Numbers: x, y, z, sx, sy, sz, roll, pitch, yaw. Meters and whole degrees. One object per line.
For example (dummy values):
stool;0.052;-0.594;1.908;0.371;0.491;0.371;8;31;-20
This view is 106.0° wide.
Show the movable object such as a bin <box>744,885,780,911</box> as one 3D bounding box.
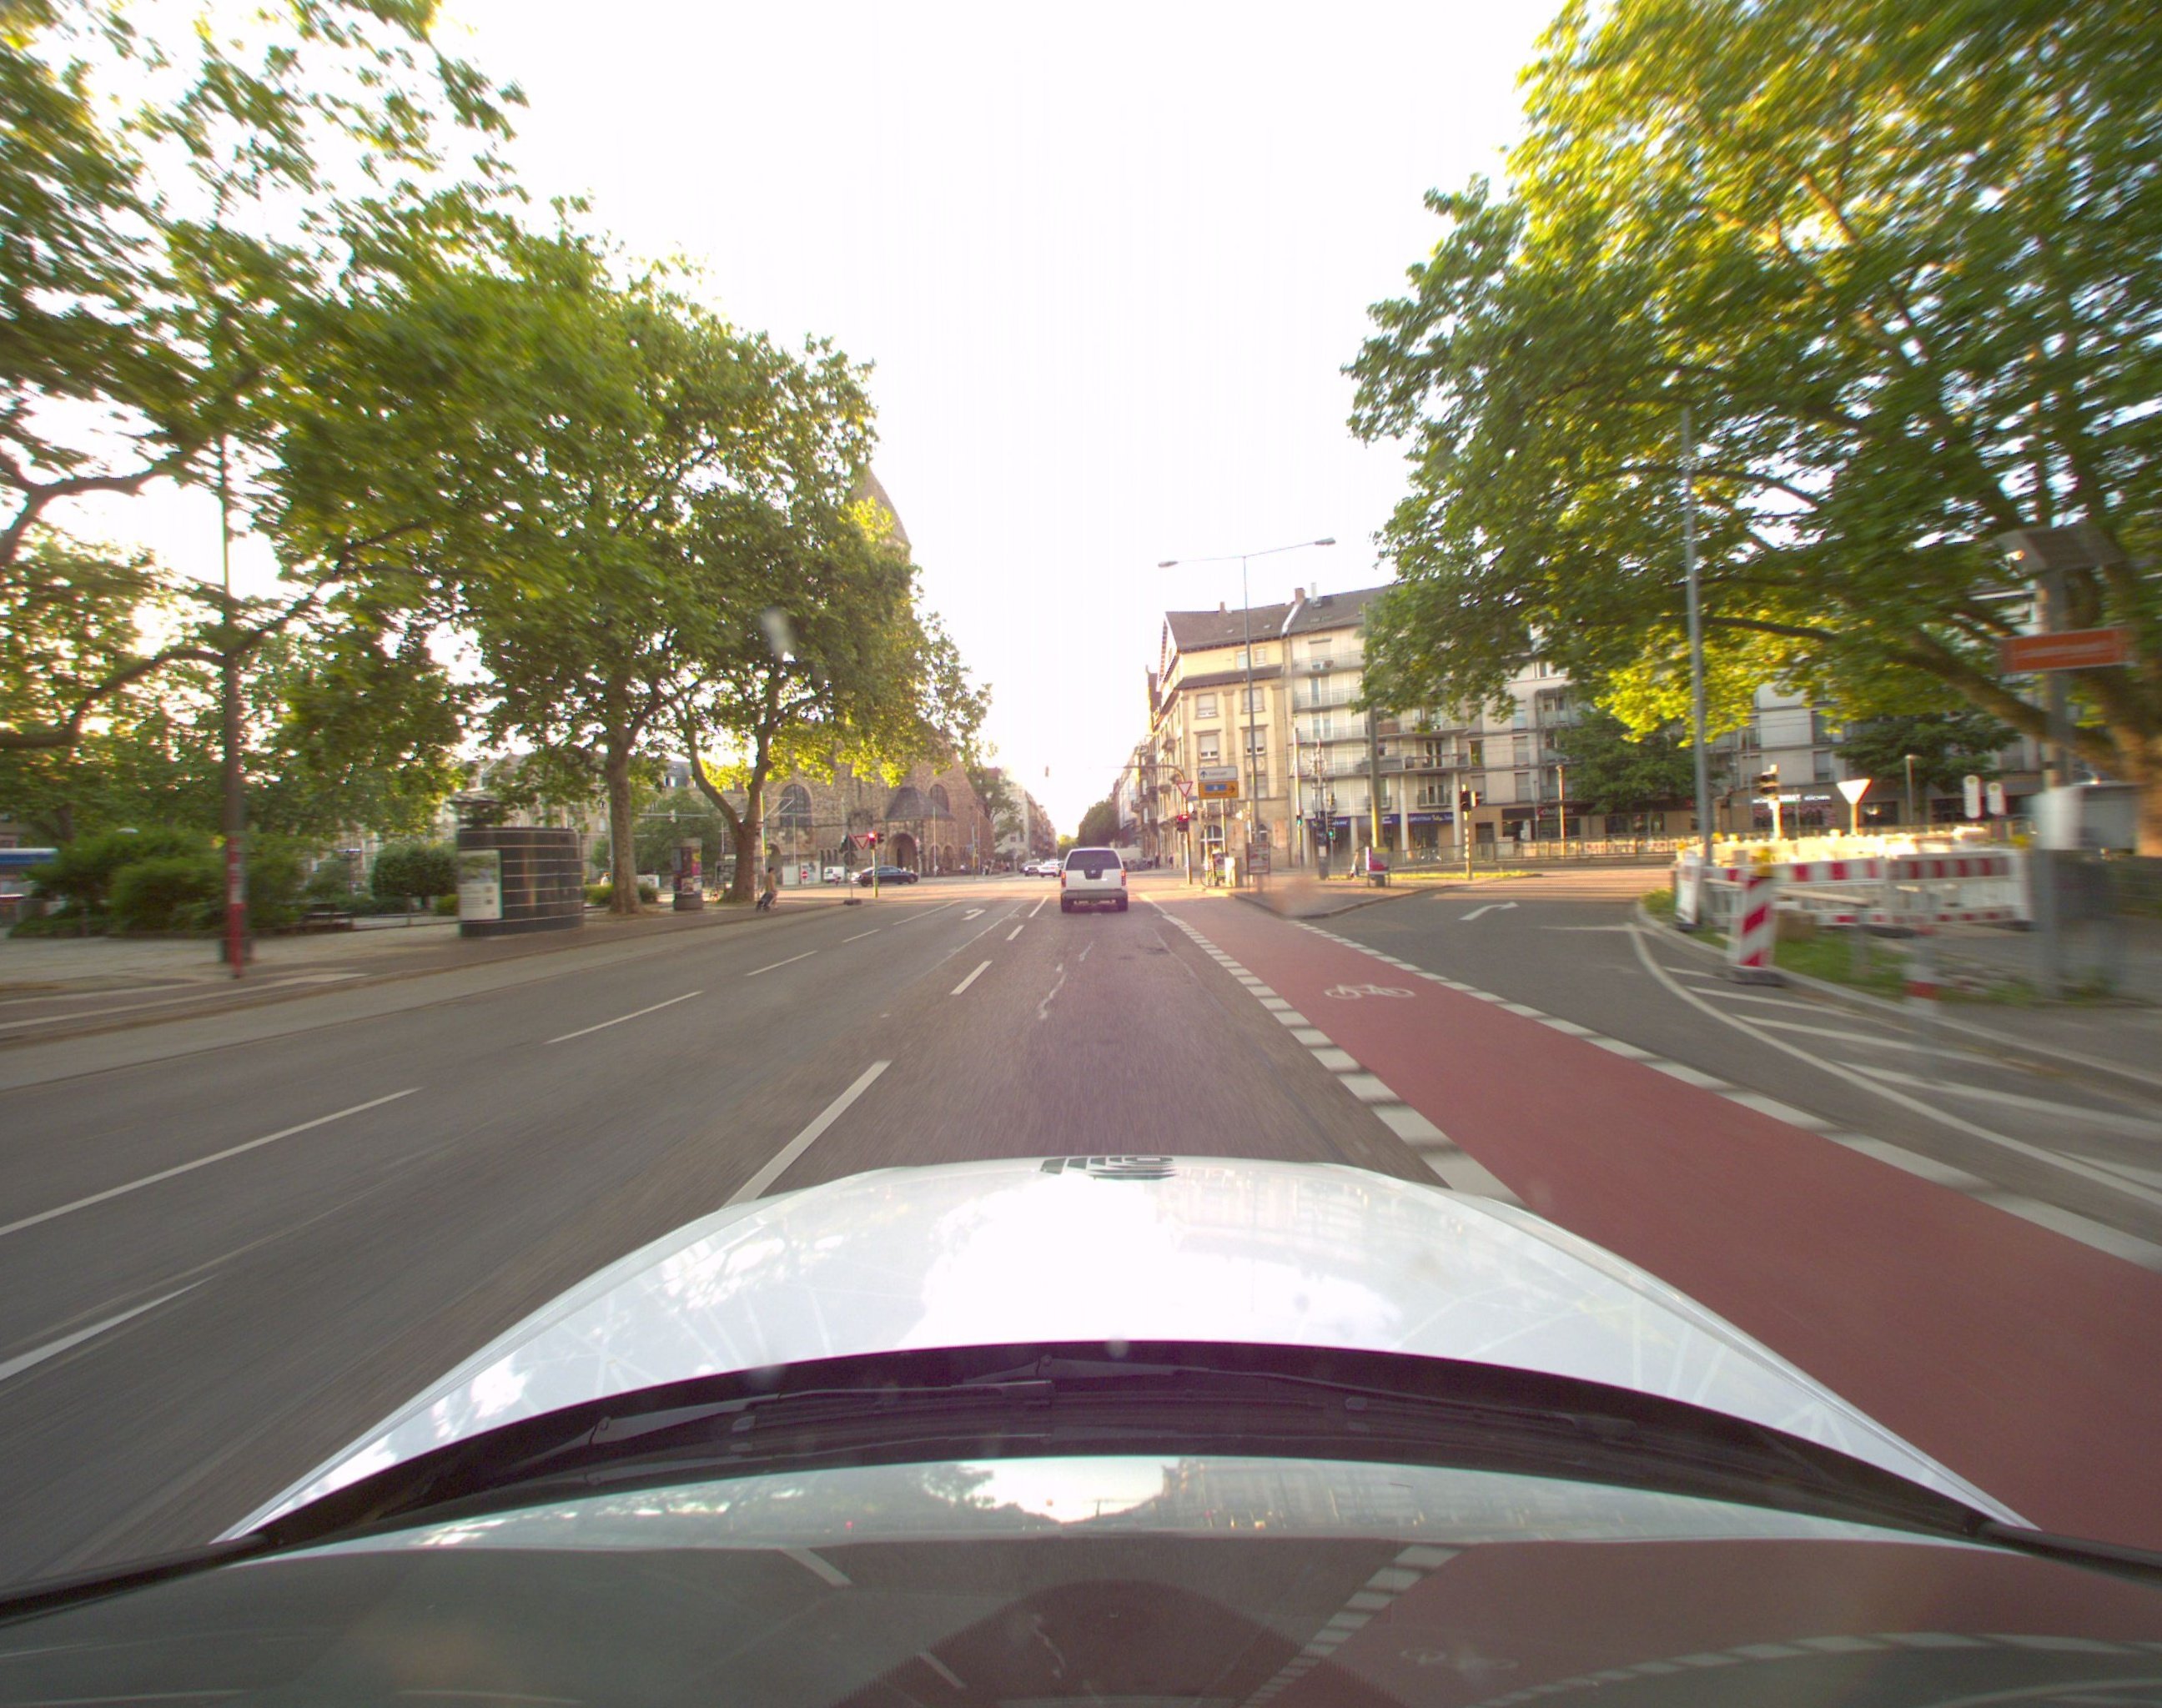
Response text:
movable object such as a bin;-11.533;1.585;29.507;0.732;0.890;0.987;-2;0;16

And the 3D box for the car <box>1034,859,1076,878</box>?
car;-2.286;1.279;72.955;1.976;1.530;4.669;-2;0;22

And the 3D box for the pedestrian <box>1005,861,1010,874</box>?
pedestrian;-11.147;2.008;123.434;0.547;1.886;0.598;-2;0;15

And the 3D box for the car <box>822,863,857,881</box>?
car;-27.069;2.020;91.441;1.691;1.909;3.516;-2;0;27

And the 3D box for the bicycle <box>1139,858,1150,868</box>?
bicycle;6.361;0.921;81.543;0.539;0.968;1.930;-2;0;18

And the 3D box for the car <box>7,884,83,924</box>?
car;-63.305;3.046;49.749;4.285;2.260;1.942;-2;-1;25

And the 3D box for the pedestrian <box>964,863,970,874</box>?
pedestrian;-13.512;1.741;96.453;0.489;1.286;0.499;-2;0;0

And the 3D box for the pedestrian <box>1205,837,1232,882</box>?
pedestrian;5.504;0.222;32.679;0.796;1.768;0.718;-2;0;-14

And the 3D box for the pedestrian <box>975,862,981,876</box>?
pedestrian;-14.157;1.989;111.639;0.588;1.886;0.556;-2;0;24

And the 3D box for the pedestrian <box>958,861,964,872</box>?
pedestrian;-14.223;1.505;96.526;0.568;1.291;0.488;-2;0;15

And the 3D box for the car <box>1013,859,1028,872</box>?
car;-8.350;1.586;112.860;1.990;1.651;3.816;-1;0;-4

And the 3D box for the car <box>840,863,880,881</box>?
car;-24.024;1.990;88.511;3.760;1.805;1.722;-2;0;22

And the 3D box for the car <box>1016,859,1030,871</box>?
car;-8.588;1.635;120.598;1.990;1.651;3.816;-1;0;-4

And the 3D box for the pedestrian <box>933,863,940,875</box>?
pedestrian;-16.409;1.666;92.293;0.568;1.320;0.488;-2;0;15

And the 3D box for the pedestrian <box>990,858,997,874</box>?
pedestrian;-10.157;1.405;94.220;0.650;1.886;0.587;-2;0;6

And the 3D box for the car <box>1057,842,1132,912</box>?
car;0.473;0.610;23.392;1.857;1.815;4.005;-1;0;5

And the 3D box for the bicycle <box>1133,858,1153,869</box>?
bicycle;6.023;0.924;79.204;1.907;0.968;0.546;-2;0;2

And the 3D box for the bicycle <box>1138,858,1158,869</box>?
bicycle;6.585;0.913;80.168;1.899;0.968;0.548;-2;0;18

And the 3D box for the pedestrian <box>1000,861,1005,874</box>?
pedestrian;-11.909;2.011;123.312;0.554;1.886;0.590;-2;0;-23

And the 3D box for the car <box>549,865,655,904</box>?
car;-26.425;1.649;45.123;2.059;1.841;4.659;-2;1;25

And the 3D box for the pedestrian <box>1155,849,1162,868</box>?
pedestrian;7.784;0.403;82.139;0.590;1.886;0.648;-2;0;6

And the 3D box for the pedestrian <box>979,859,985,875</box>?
pedestrian;-11.459;1.496;94.134;0.590;1.886;0.554;-2;0;4

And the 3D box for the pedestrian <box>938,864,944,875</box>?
pedestrian;-15.771;1.769;91.912;0.499;1.280;0.489;-2;0;-20

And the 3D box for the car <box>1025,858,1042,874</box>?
car;-5.306;1.314;90.821;1.778;1.651;3.816;-1;0;-4

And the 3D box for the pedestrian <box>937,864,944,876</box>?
pedestrian;-15.775;1.760;91.411;0.493;1.286;0.495;-2;0;20

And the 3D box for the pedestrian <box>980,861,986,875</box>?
pedestrian;-13.647;1.978;113.036;0.588;1.886;0.556;-2;0;24

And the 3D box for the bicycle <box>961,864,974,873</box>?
bicycle;-13.603;1.747;97.677;1.489;0.968;0.396;-2;0;11

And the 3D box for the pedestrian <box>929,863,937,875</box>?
pedestrian;-16.572;1.702;91.193;0.568;1.291;0.488;-2;0;15

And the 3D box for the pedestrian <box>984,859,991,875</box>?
pedestrian;-10.819;1.489;94.207;0.590;1.886;0.554;-2;0;4

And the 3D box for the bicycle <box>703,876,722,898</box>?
bicycle;-18.356;1.631;40.527;0.548;1.043;1.901;-2;0;-34

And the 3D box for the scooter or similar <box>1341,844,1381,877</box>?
scooter or similar;10.820;0.257;31.492;0.548;1.250;1.375;-2;0;-36

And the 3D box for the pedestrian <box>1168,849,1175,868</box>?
pedestrian;8.461;0.421;76.004;0.590;1.768;0.654;-2;0;6

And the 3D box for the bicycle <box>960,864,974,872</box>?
bicycle;-13.606;1.681;97.314;1.489;0.968;0.396;-2;0;11

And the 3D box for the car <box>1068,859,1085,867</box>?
car;-1.096;2.089;193.491;3.977;1.816;1.998;-2;0;-3

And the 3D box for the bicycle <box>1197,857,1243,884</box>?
bicycle;5.475;0.644;32.178;1.688;0.968;0.545;-2;0;-3

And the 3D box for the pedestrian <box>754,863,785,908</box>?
pedestrian;-11.583;1.158;30.303;0.732;1.629;0.689;-2;0;15

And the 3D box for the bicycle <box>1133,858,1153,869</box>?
bicycle;6.064;0.915;79.408;1.907;0.968;0.546;-2;0;2

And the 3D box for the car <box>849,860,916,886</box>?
car;-14.409;1.351;59.181;4.288;1.651;1.976;-2;0;-41

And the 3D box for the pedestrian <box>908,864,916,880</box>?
pedestrian;-16.949;1.765;81.623;0.552;1.584;0.550;-2;0;11

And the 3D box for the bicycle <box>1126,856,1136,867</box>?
bicycle;5.039;0.746;82.007;0.539;0.968;1.930;-2;0;18

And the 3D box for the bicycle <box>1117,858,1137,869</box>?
bicycle;4.555;0.946;80.718;1.907;0.968;0.546;-2;0;2

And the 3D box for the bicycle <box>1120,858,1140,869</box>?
bicycle;4.813;0.937;79.900;1.912;0.968;0.544;-2;0;-6

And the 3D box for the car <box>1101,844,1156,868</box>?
car;5.029;0.154;85.726;5.853;2.288;2.048;-2;0;-39

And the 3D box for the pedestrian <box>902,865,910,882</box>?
pedestrian;-17.566;1.955;81.659;0.552;1.584;0.550;-2;0;11

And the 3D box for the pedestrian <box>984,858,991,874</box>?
pedestrian;-11.284;1.415;98.708;0.588;1.886;0.556;-2;0;17
